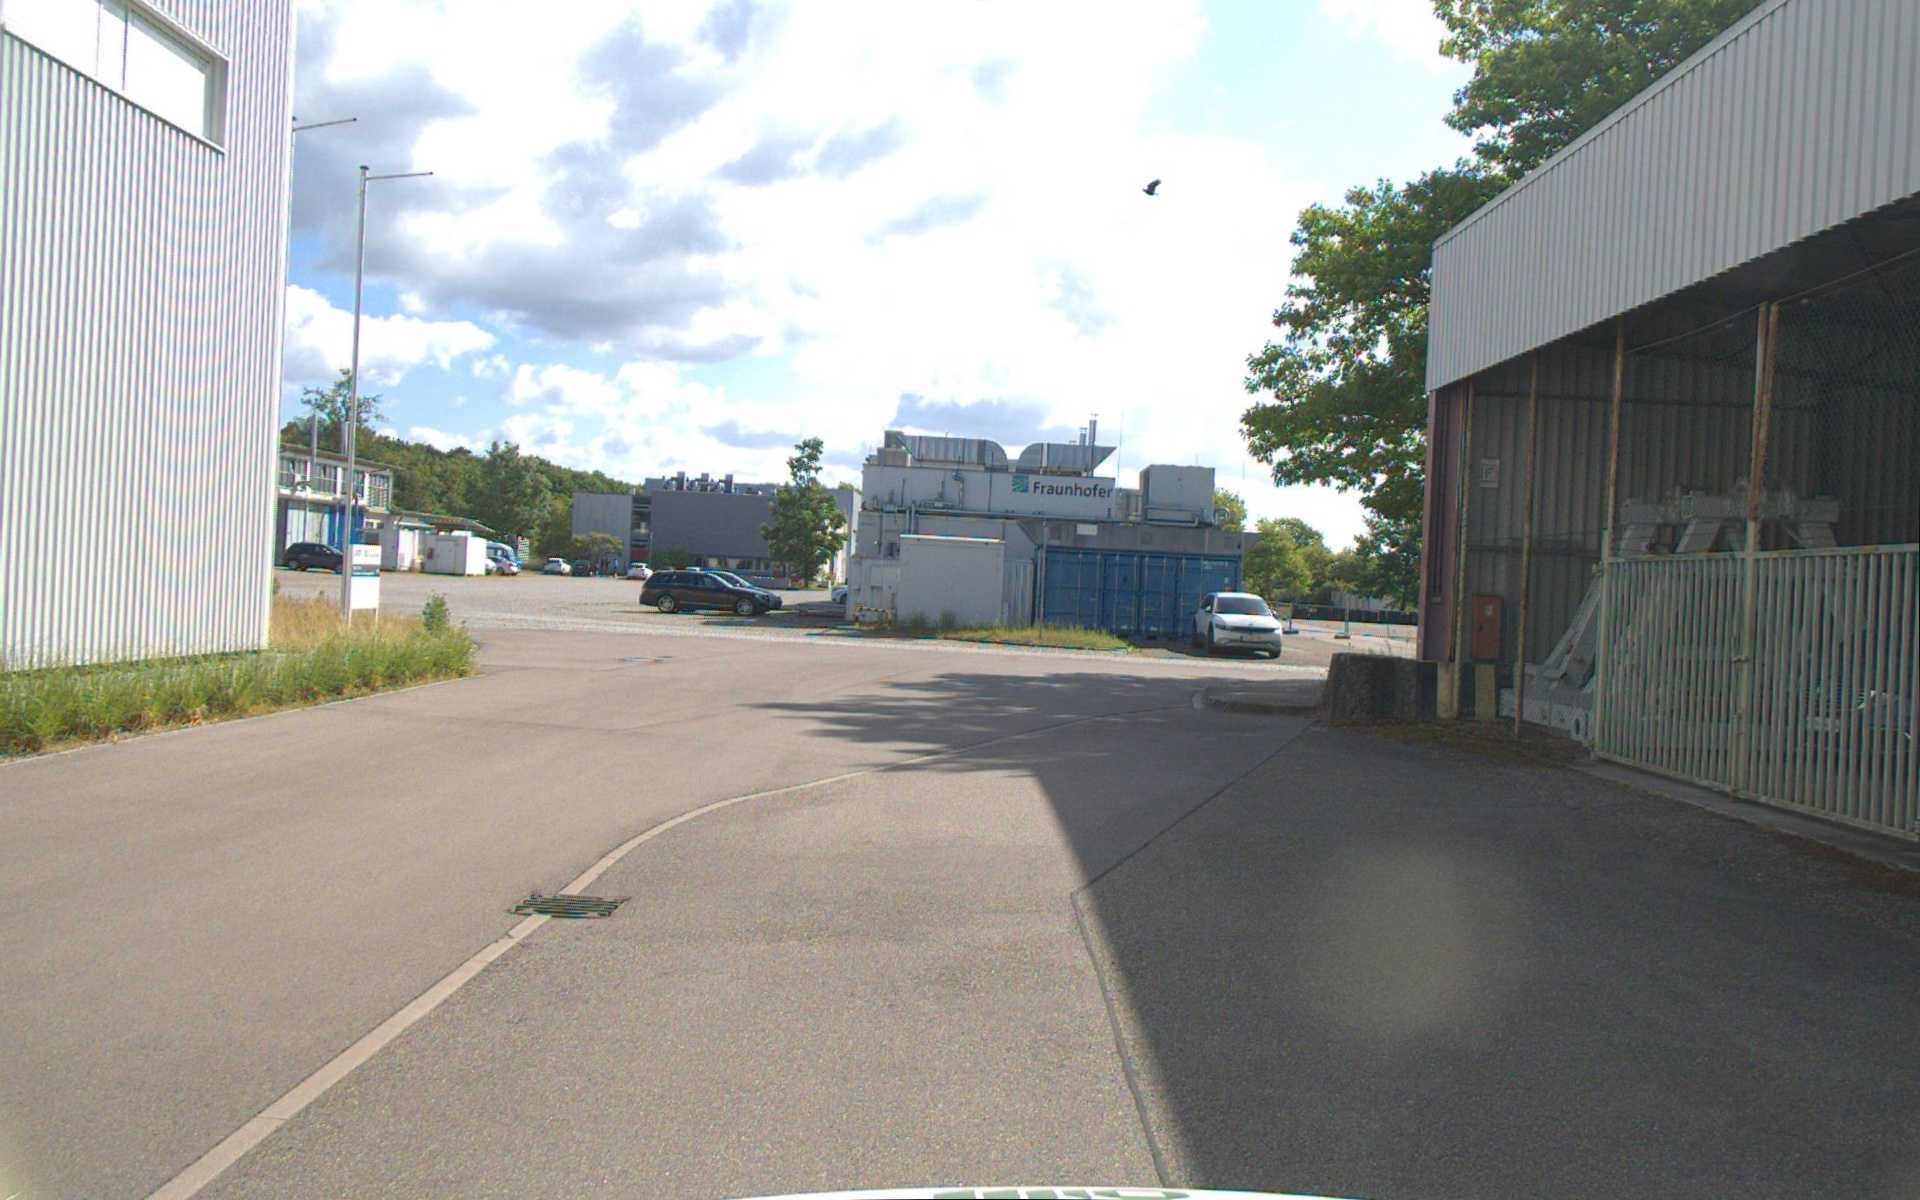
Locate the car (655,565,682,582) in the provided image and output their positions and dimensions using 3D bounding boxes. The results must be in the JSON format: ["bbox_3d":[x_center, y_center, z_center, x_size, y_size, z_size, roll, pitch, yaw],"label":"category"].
[{"bbox_3d":[-27.169,-2.474,154.227,1.840,1.564,4.034,1,0,-2],"label":"car"}]

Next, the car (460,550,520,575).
[{"bbox_3d":[-36.290,-2.913,127.738,4.024,1.659,1.809,3,0,4],"label":"car"}]

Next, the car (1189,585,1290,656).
[{"bbox_3d":[7.543,0.512,45.035,1.941,1.621,4.341,3,2,0],"label":"car"}]

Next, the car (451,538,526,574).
[{"bbox_3d":[-37.230,-3.443,130.671,5.148,2.484,2.051,3,0,4],"label":"car"}]

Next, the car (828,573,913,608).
[{"bbox_3d":[-4.575,-0.471,85.307,4.192,1.596,1.987,3,-1,0],"label":"car"}]

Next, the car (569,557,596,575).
[{"bbox_3d":[-35.129,-3.167,154.084,1.841,1.564,4.032,1,0,-5],"label":"car"}]

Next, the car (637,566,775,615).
[{"bbox_3d":[-8.794,-0.326,57.536,4.437,1.468,1.987,3,-1,0],"label":"car"}]

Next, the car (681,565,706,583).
[{"bbox_3d":[-24.889,-2.437,154.462,1.840,1.564,4.034,1,0,-2],"label":"car"}]

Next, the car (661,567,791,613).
[{"bbox_3d":[-8.561,-0.351,60.796,4.437,1.468,1.904,3,-1,0],"label":"car"}]

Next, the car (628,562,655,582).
[{"bbox_3d":[-29.683,-2.594,154.363,1.840,1.719,4.034,1,0,-2],"label":"car"}]

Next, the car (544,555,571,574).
[{"bbox_3d":[-37.532,-3.274,154.188,1.810,1.697,4.129,1,0,-5],"label":"car"}]

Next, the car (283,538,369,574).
[{"bbox_3d":[-36.118,-2.495,94.299,4.079,1.694,1.783,4,0,-2],"label":"car"}]

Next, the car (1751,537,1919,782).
[{"bbox_3d":[10.055,0.575,14.583,5.065,1.951,2.276,2,0,-5],"label":"car"}]
